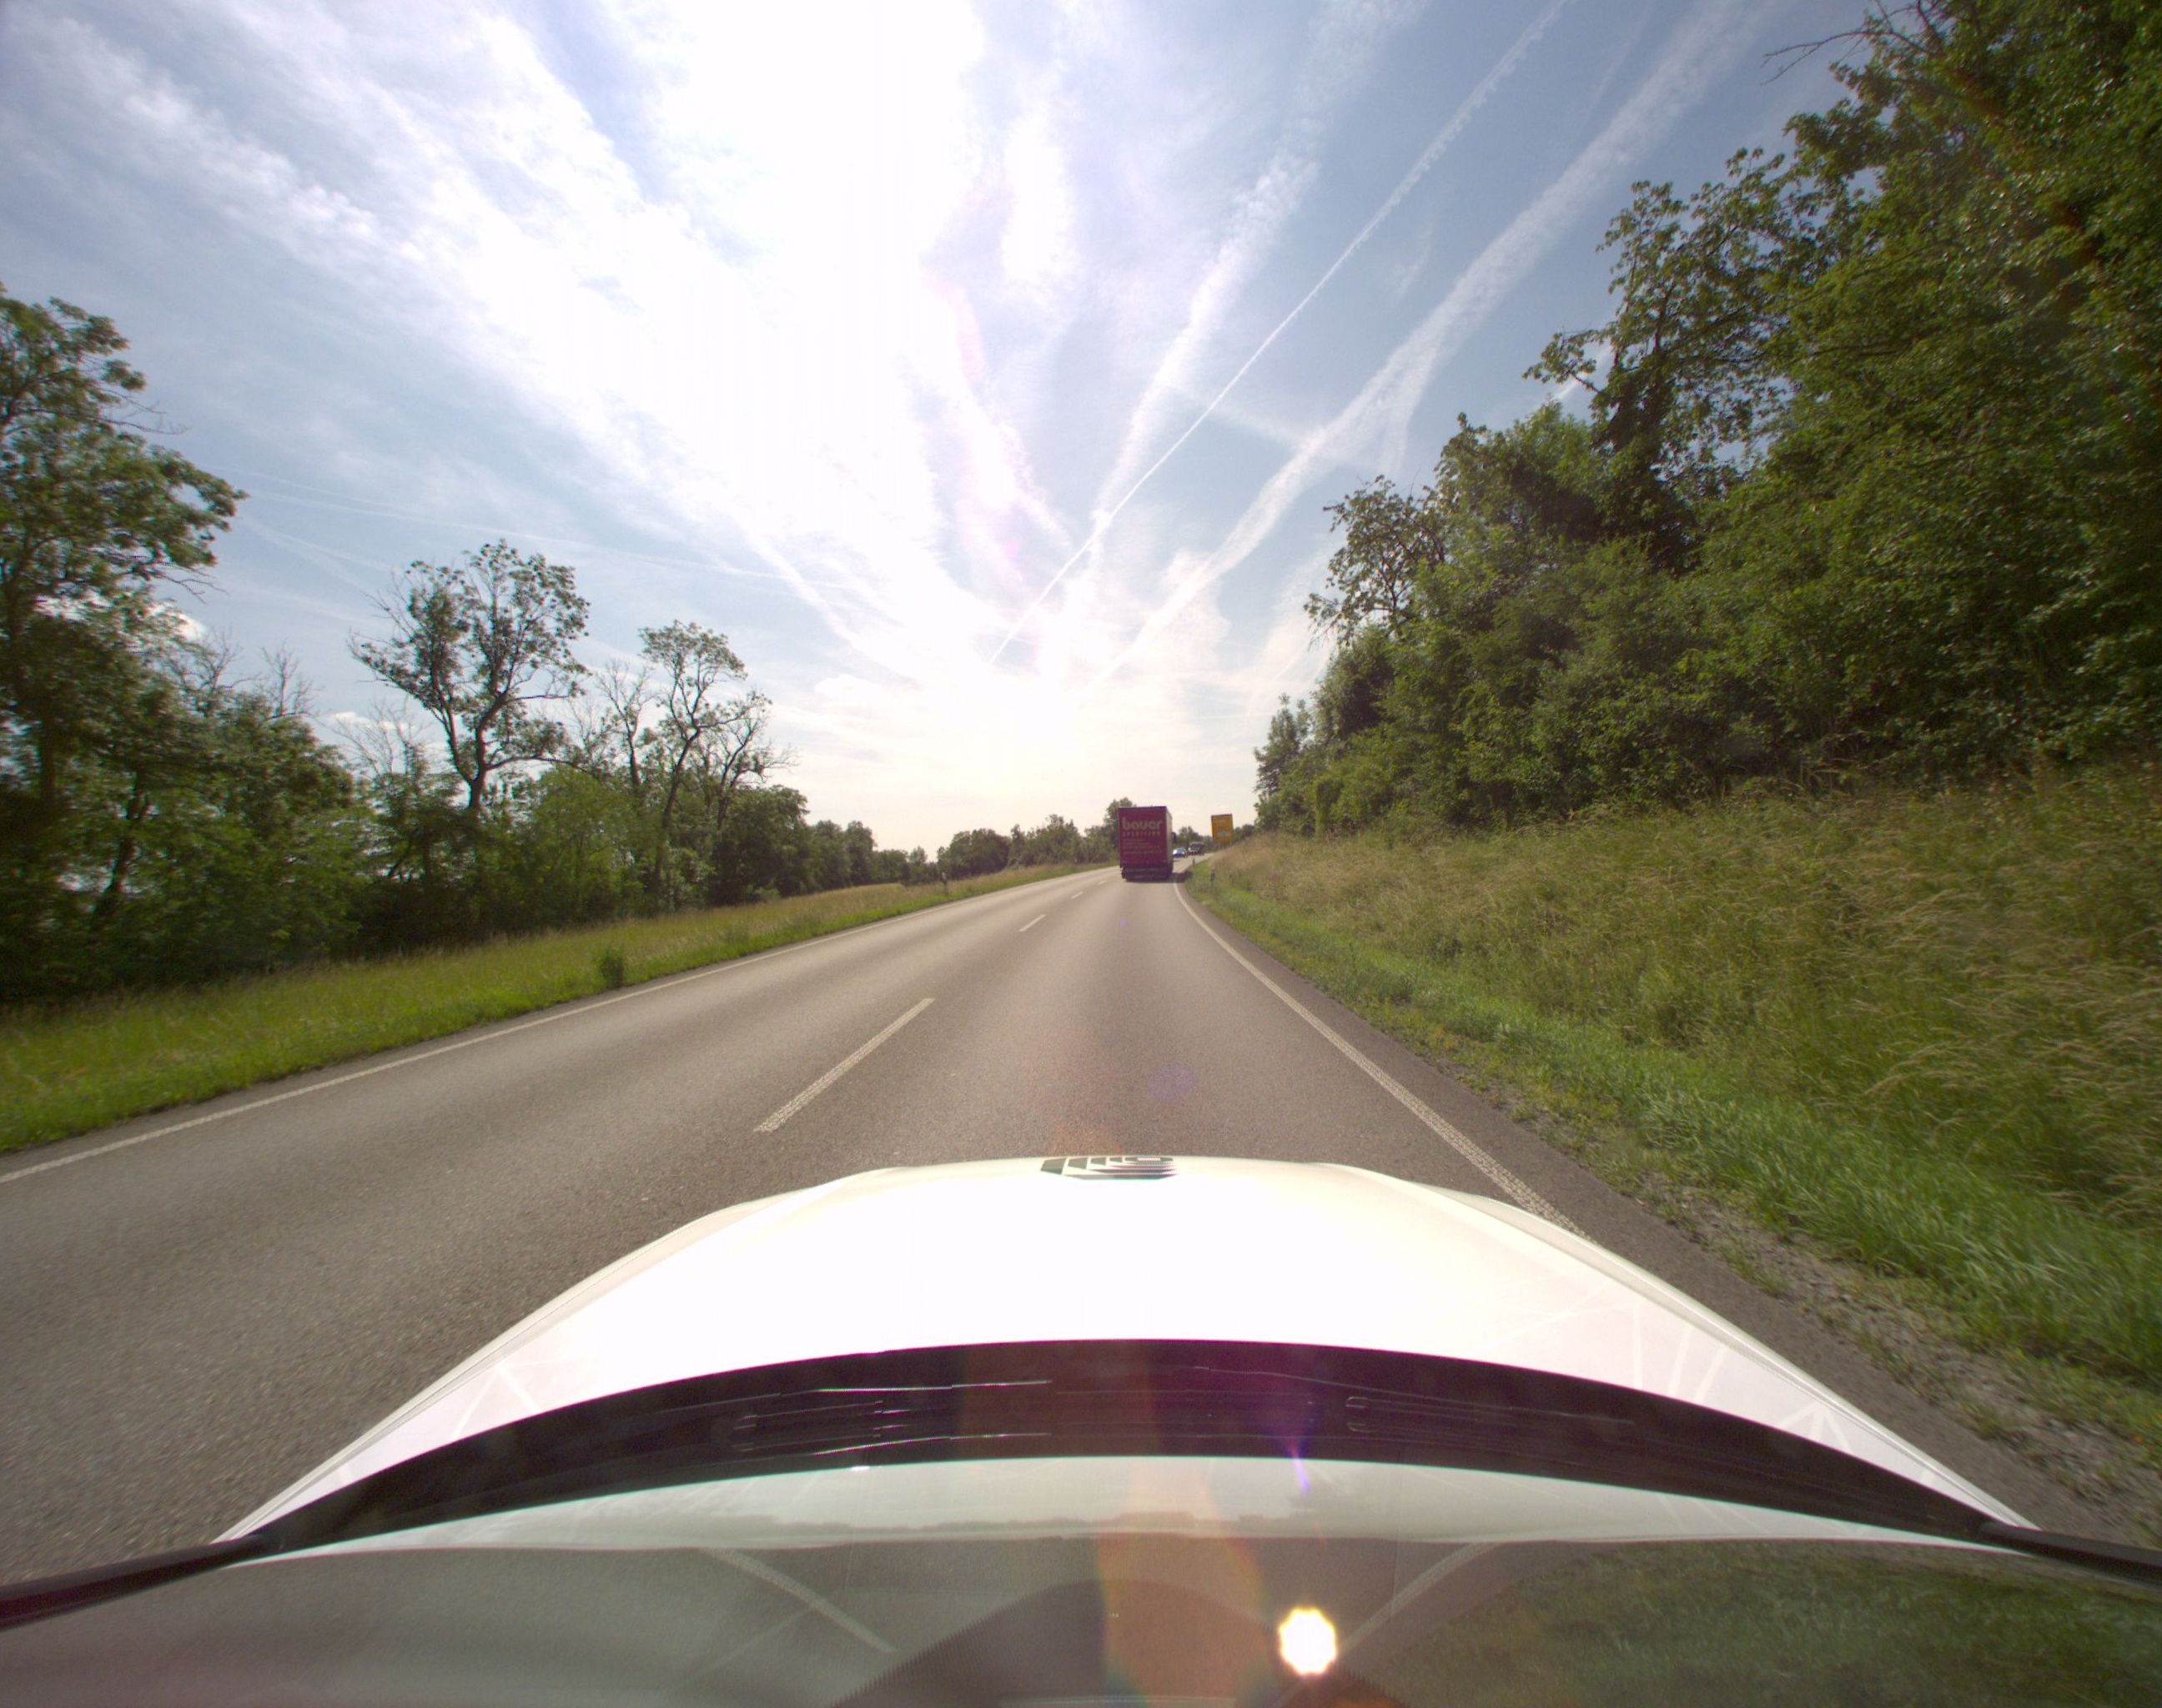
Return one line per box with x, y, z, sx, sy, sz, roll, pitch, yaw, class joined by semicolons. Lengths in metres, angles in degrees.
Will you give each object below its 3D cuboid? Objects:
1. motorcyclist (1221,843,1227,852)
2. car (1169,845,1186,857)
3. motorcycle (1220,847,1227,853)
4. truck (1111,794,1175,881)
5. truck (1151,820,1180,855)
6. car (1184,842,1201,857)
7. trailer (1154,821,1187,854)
29.113;-1.289;166.080;0.910;1.718;0.968;-2;0;22;motorcyclist
14.526;-0.484;122.178;1.849;1.485;4.377;-6;0;15;car
29.101;-0.809;166.055;0.751;0.993;2.292;7;4;22;motorcycle
3.938;-0.911;48.599;3.095;4.505;12.193;-1;0;7;truck
10.358;-2.008;99.574;2.788;4.067;6.004;-2;0;11;truck
18.759;-0.745;136.388;2.155;2.303;4.925;-6;0;13;car
11.932;-2.063;107.412;2.977;4.043;12.958;-2;0;12;trailer
